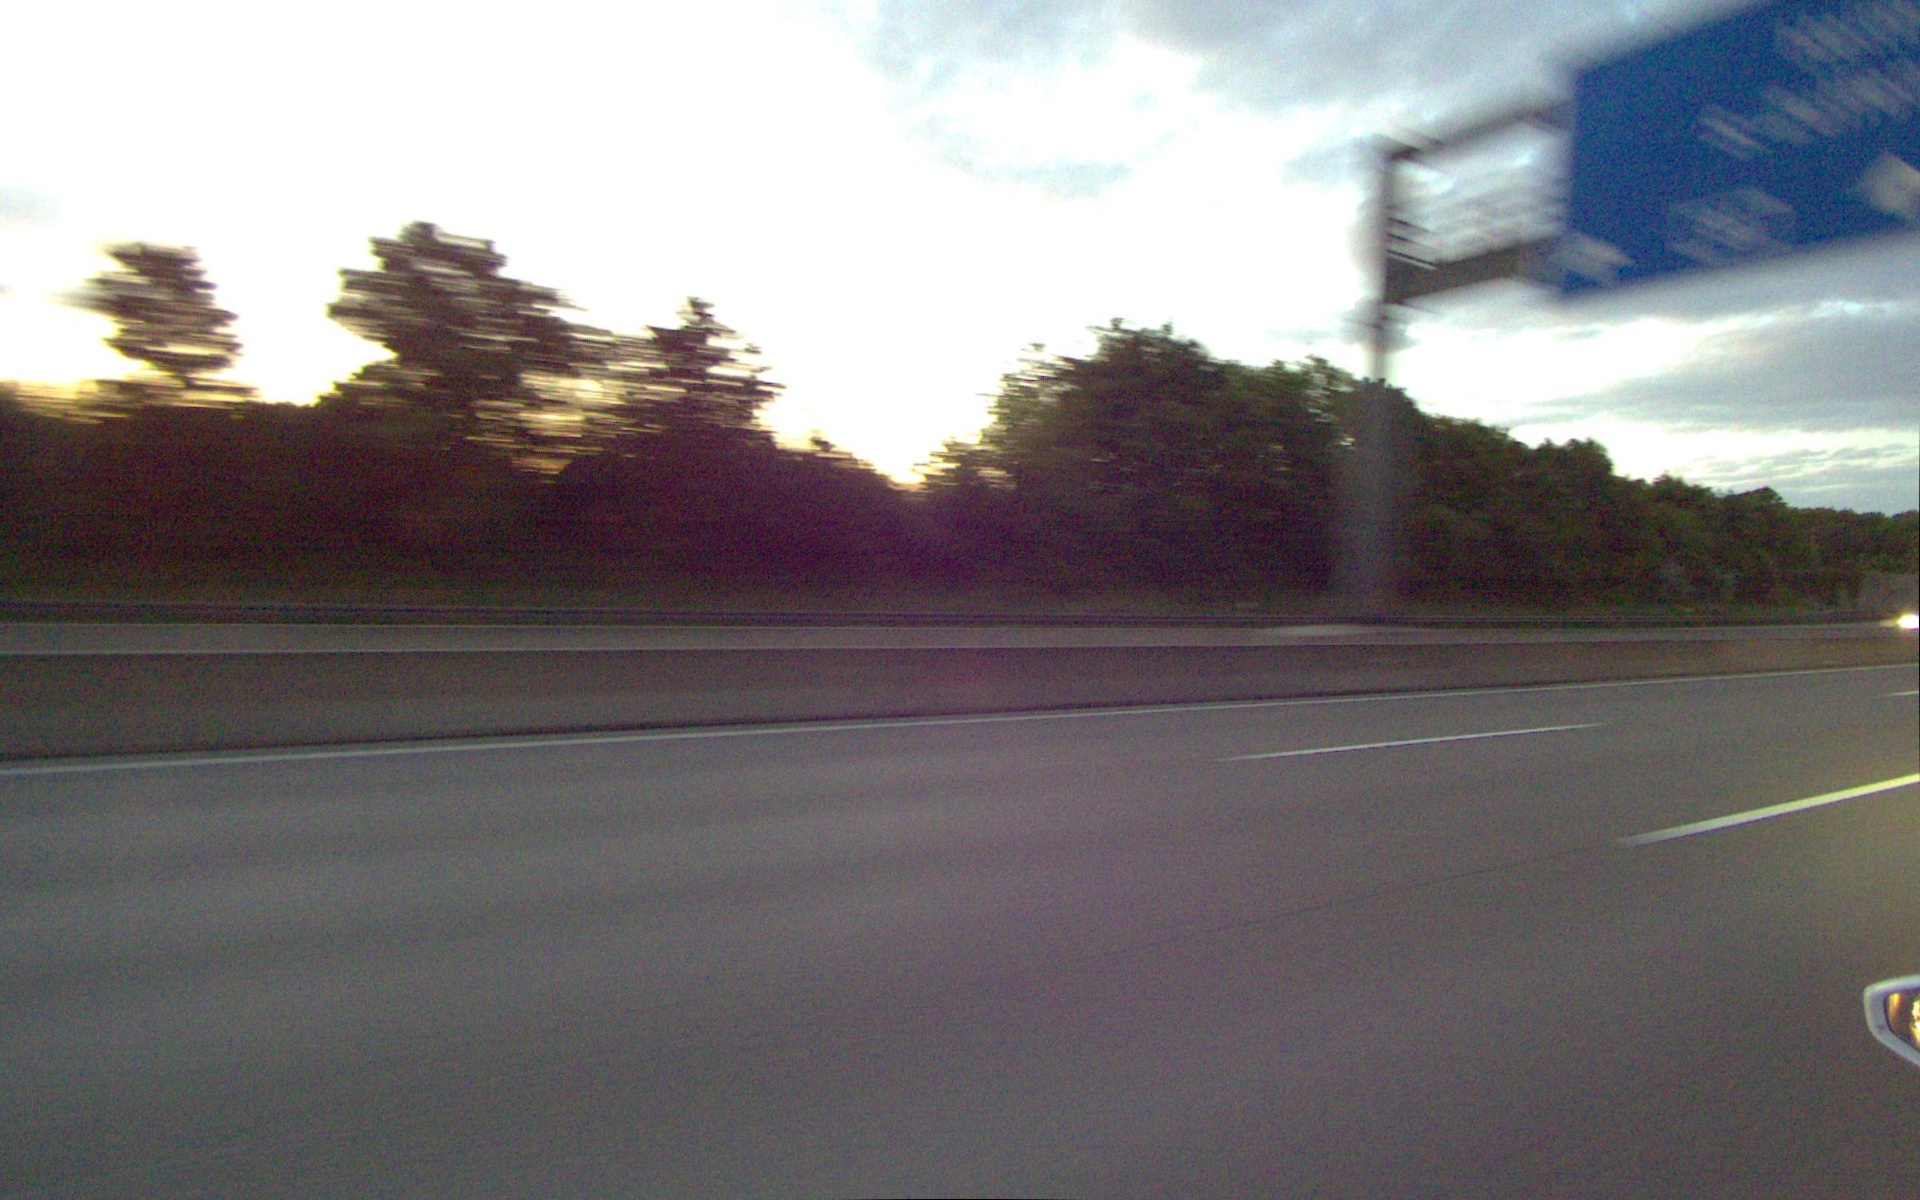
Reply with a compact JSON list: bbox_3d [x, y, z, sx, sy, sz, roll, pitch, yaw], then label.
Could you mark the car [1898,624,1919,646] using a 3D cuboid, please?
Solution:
[{"bbox_3d":[66.978,2.452,69.539,4.106,1.438,1.982,2,1,-32],"label":"car"}]
